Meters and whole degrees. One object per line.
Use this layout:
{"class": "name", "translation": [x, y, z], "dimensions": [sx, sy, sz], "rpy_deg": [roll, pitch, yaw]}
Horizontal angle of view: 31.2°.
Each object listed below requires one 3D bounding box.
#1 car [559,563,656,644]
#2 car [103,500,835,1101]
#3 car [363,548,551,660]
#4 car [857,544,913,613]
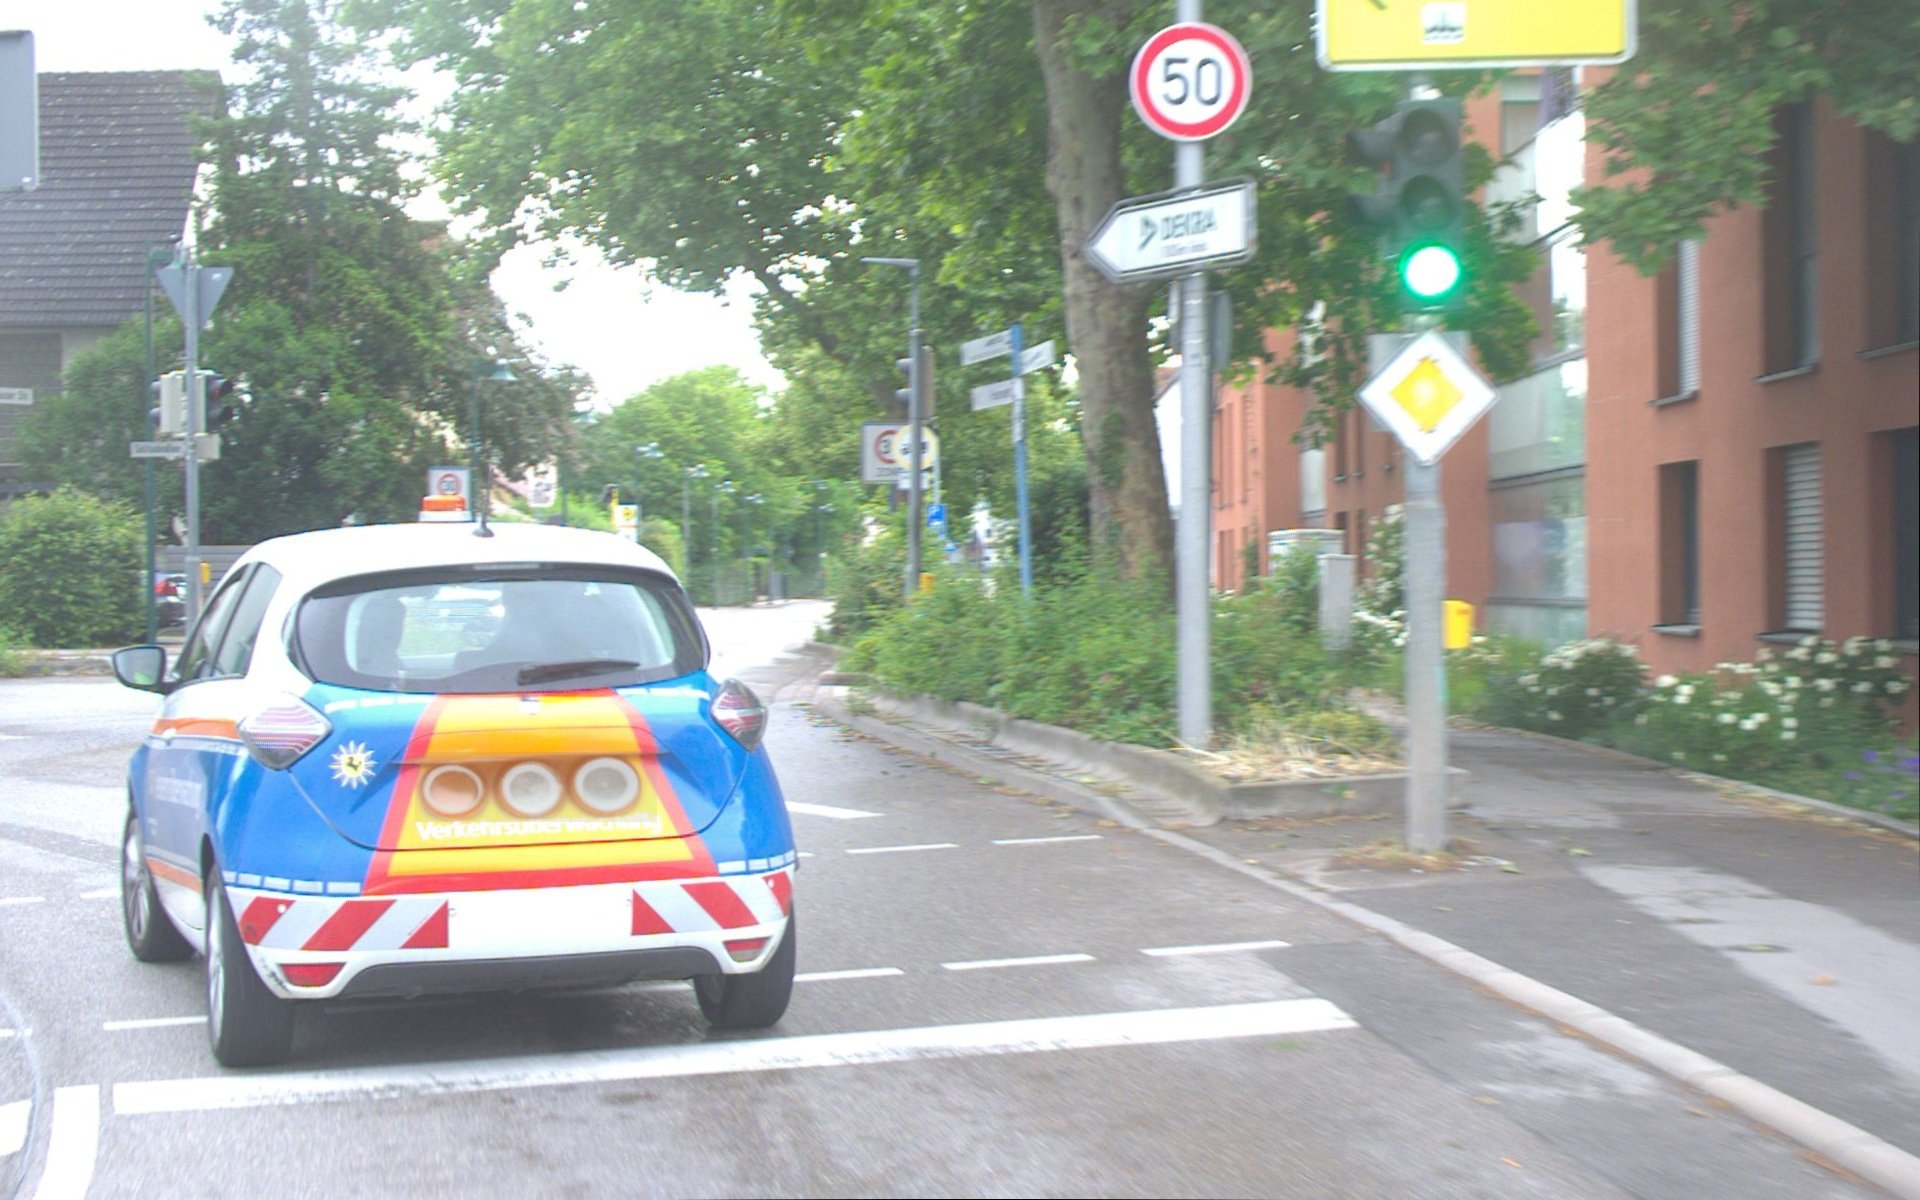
{"class": "car", "translation": [-7.589, 0.059, 74.262], "dimensions": [1.877, 1.663, 3.714], "rpy_deg": [0, 1, -3]}
{"class": "car", "translation": [-1.789, 0.485, 11.321], "dimensions": [1.745, 1.575, 4.001], "rpy_deg": [-1, 2, -17]}
{"class": "car", "translation": [-6.973, 0.050, 48.048], "dimensions": [1.942, 1.447, 4.299], "rpy_deg": [1, 0, 0]}
{"class": "car", "translation": [-2.256, -0.671, 104.389], "dimensions": [1.643, 2.010, 3.715], "rpy_deg": [0, 2, -1]}
